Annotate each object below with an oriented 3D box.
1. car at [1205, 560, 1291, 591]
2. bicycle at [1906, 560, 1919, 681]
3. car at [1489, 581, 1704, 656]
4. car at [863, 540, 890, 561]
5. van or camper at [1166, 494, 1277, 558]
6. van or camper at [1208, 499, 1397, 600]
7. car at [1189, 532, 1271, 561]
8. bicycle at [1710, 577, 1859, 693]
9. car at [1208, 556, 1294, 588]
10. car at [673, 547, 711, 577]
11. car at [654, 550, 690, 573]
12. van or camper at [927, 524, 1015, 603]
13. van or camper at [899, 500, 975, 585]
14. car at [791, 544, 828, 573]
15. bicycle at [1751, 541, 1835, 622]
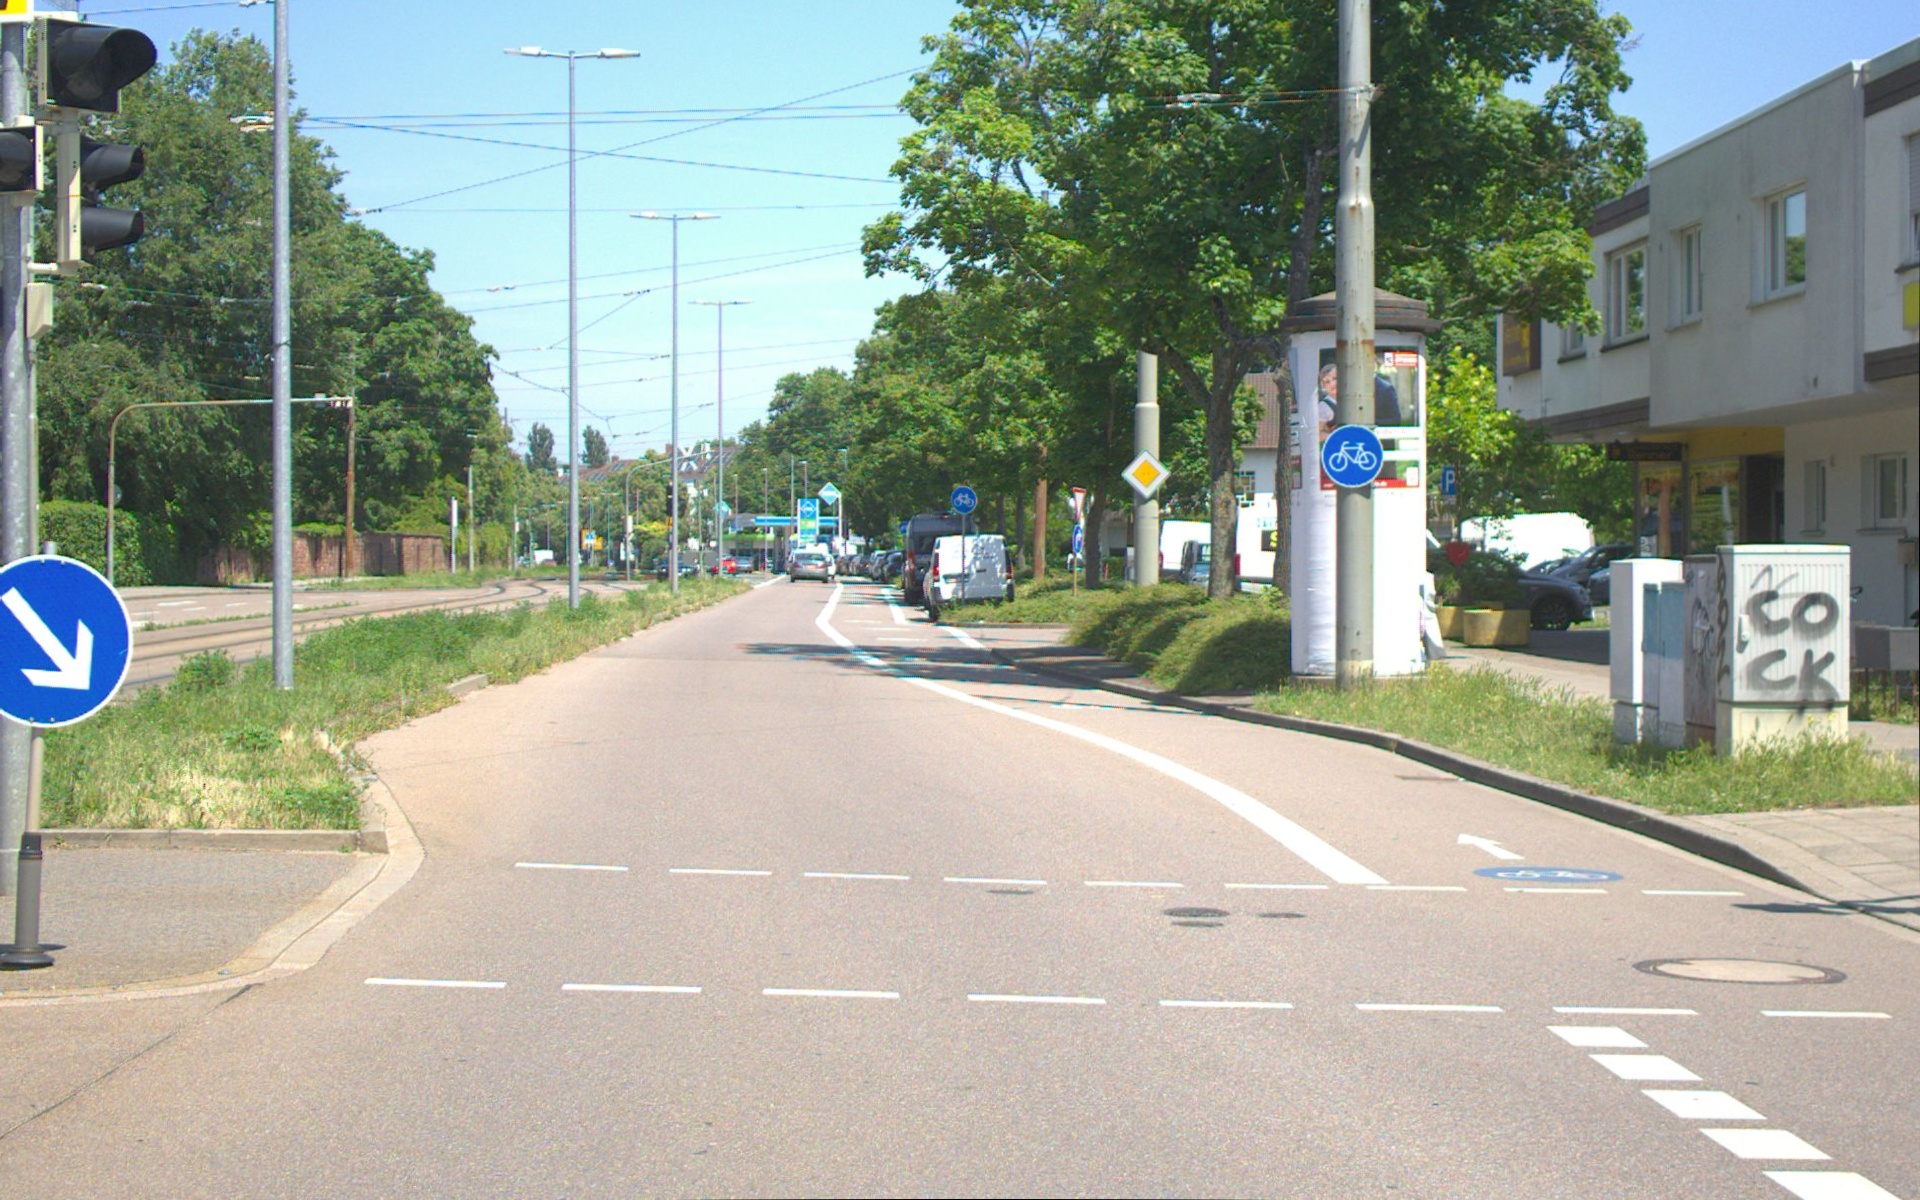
[{"bbox_3d":[9.068,-0.778,108.267,2.587,0.959,1.149,0,1,0],"label":"car"},{"bbox_3d":[9.751,0.222,32.720,0.989,1.160,2.637,0,2,5],"label":"bicycle"},{"bbox_3d":[11.722,0.334,63.438,3.606,1.346,1.491,0,1,-8],"label":"car"},{"bbox_3d":[-5.191,-3.082,213.689,1.523,1.291,3.493,0,2,-4],"label":"car"},{"bbox_3d":[8.858,-2.513,116.477,3.557,2.138,1.603,0,1,-3],"label":"van or camper"},{"bbox_3d":[9.143,-1.349,92.111,4.756,2.662,2.136,0,1,-3],"label":"van or camper"},{"bbox_3d":[8.880,-1.763,113.117,2.587,0.959,1.149,0,2,0],"label":"car"},{"bbox_3d":[7.917,0.313,33.135,1.034,1.011,2.637,0,2,5],"label":"bicycle"},{"bbox_3d":[8.902,-0.853,105.146,2.588,0.959,1.149,0,2,4],"label":"car"},{"bbox_3d":[-9.838,-1.400,126.124,1.291,1.050,2.601,0,1,-7],"label":"car"},{"bbox_3d":[-13.509,-1.825,161.364,1.492,1.043,3.580,0,1,-2],"label":"car"},{"bbox_3d":[0.227,-0.843,78.860,1.922,1.766,4.000,0,1,-1],"label":"van or camper"},{"bbox_3d":[-0.701,-1.689,101.324,1.993,2.456,4.001,0,1,-4],"label":"van or camper"},{"bbox_3d":[-7.111,-1.958,162.039,1.636,1.346,3.842,0,1,-4],"label":"car"},{"bbox_3d":[11.382,-0.260,47.009,0.507,1.061,1.865,2,1,-5],"label":"bicycle"}]
